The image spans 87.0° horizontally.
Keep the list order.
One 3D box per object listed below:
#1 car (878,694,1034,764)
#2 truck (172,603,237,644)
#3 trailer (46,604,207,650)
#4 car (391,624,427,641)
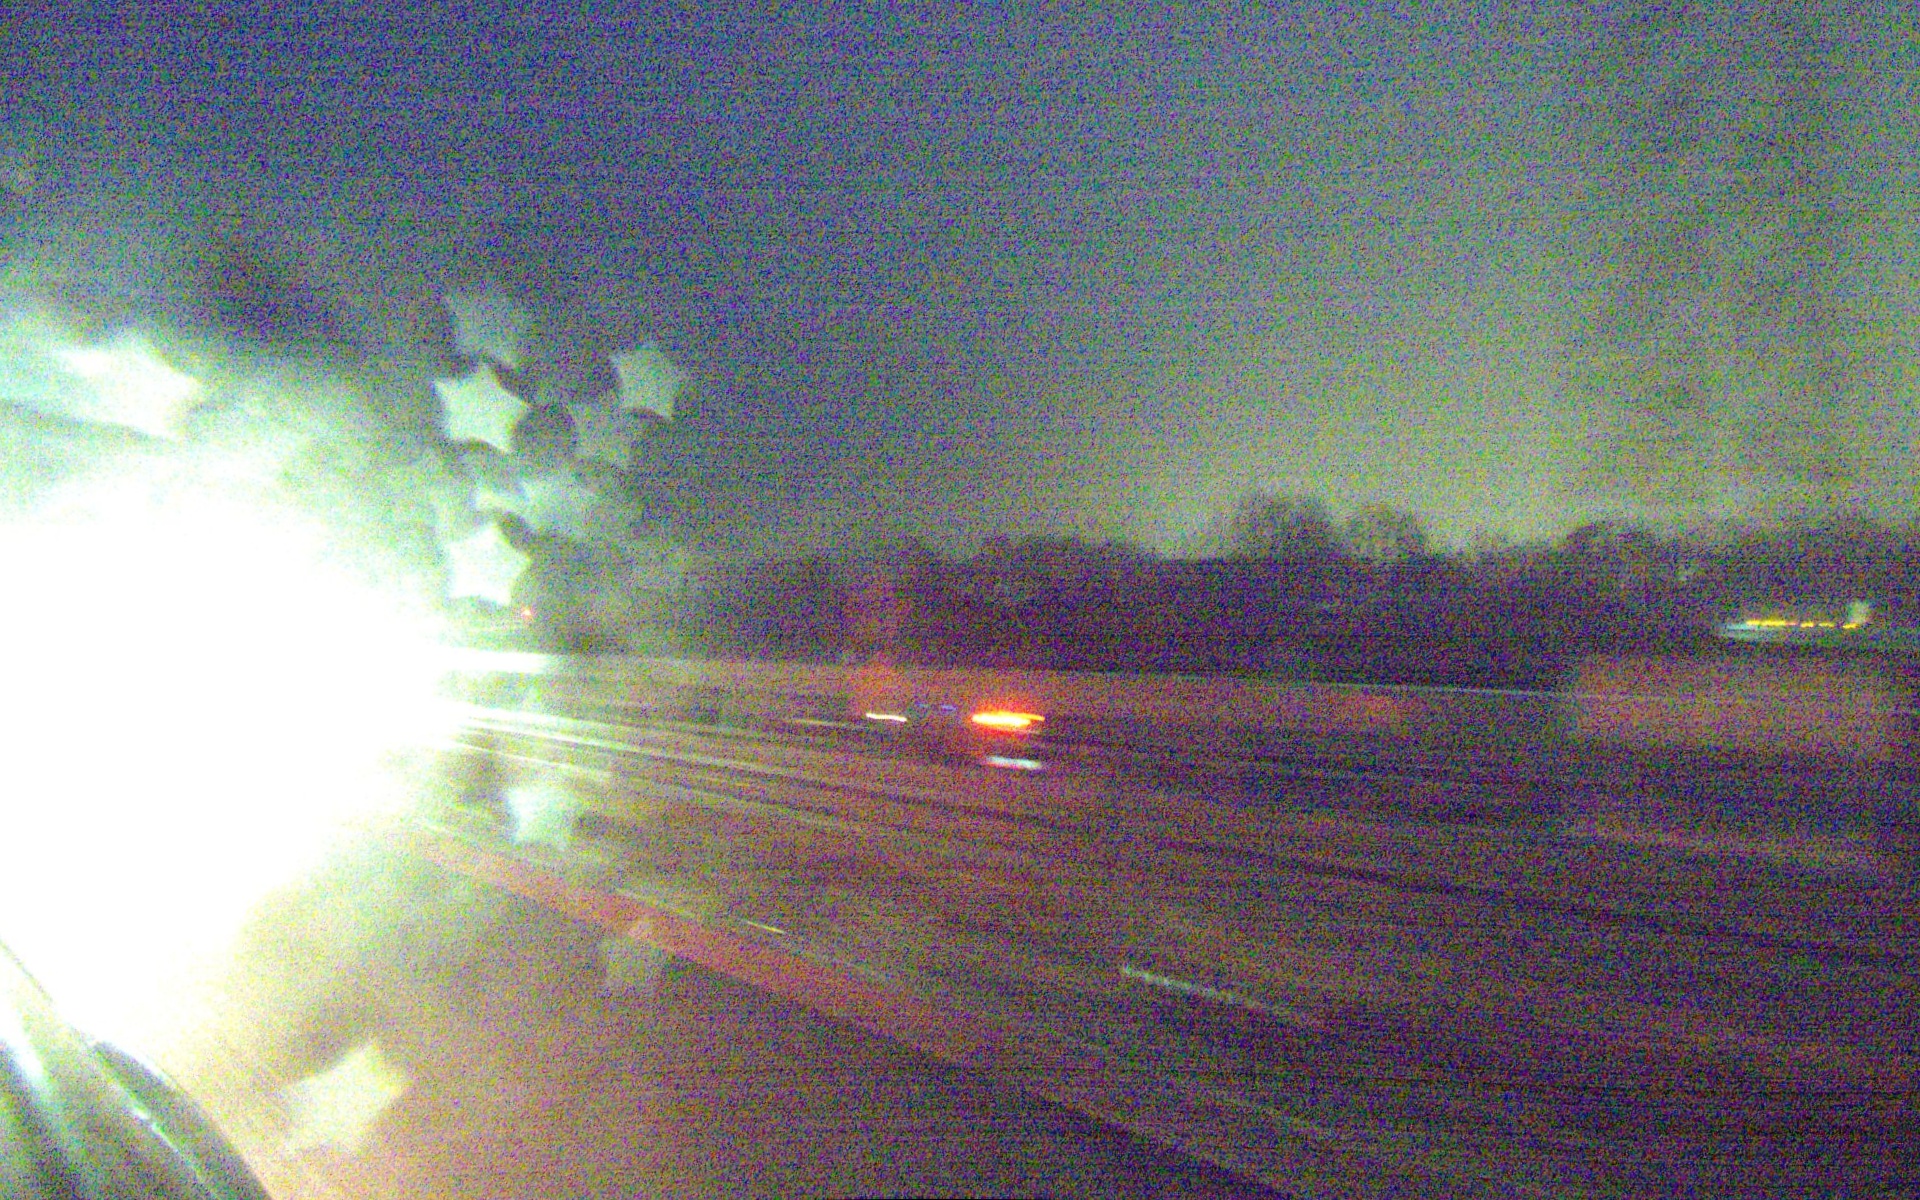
[{"bbox_3d":[-0.129,3.557,28.388,4.030,1.501,1.746,1,-1,31],"label":"car"},{"bbox_3d":[-86.567,2.608,116.037,5.468,4.368,2.548,-2,2,-26],"label":"truck"},{"bbox_3d":[-92.758,2.881,112.977,13.473,4.368,2.548,-3,2,-26],"label":"trailer"},{"bbox_3d":[-50.162,2.958,92.210,1.704,1.409,3.937,1,-1,-10],"label":"car"}]
